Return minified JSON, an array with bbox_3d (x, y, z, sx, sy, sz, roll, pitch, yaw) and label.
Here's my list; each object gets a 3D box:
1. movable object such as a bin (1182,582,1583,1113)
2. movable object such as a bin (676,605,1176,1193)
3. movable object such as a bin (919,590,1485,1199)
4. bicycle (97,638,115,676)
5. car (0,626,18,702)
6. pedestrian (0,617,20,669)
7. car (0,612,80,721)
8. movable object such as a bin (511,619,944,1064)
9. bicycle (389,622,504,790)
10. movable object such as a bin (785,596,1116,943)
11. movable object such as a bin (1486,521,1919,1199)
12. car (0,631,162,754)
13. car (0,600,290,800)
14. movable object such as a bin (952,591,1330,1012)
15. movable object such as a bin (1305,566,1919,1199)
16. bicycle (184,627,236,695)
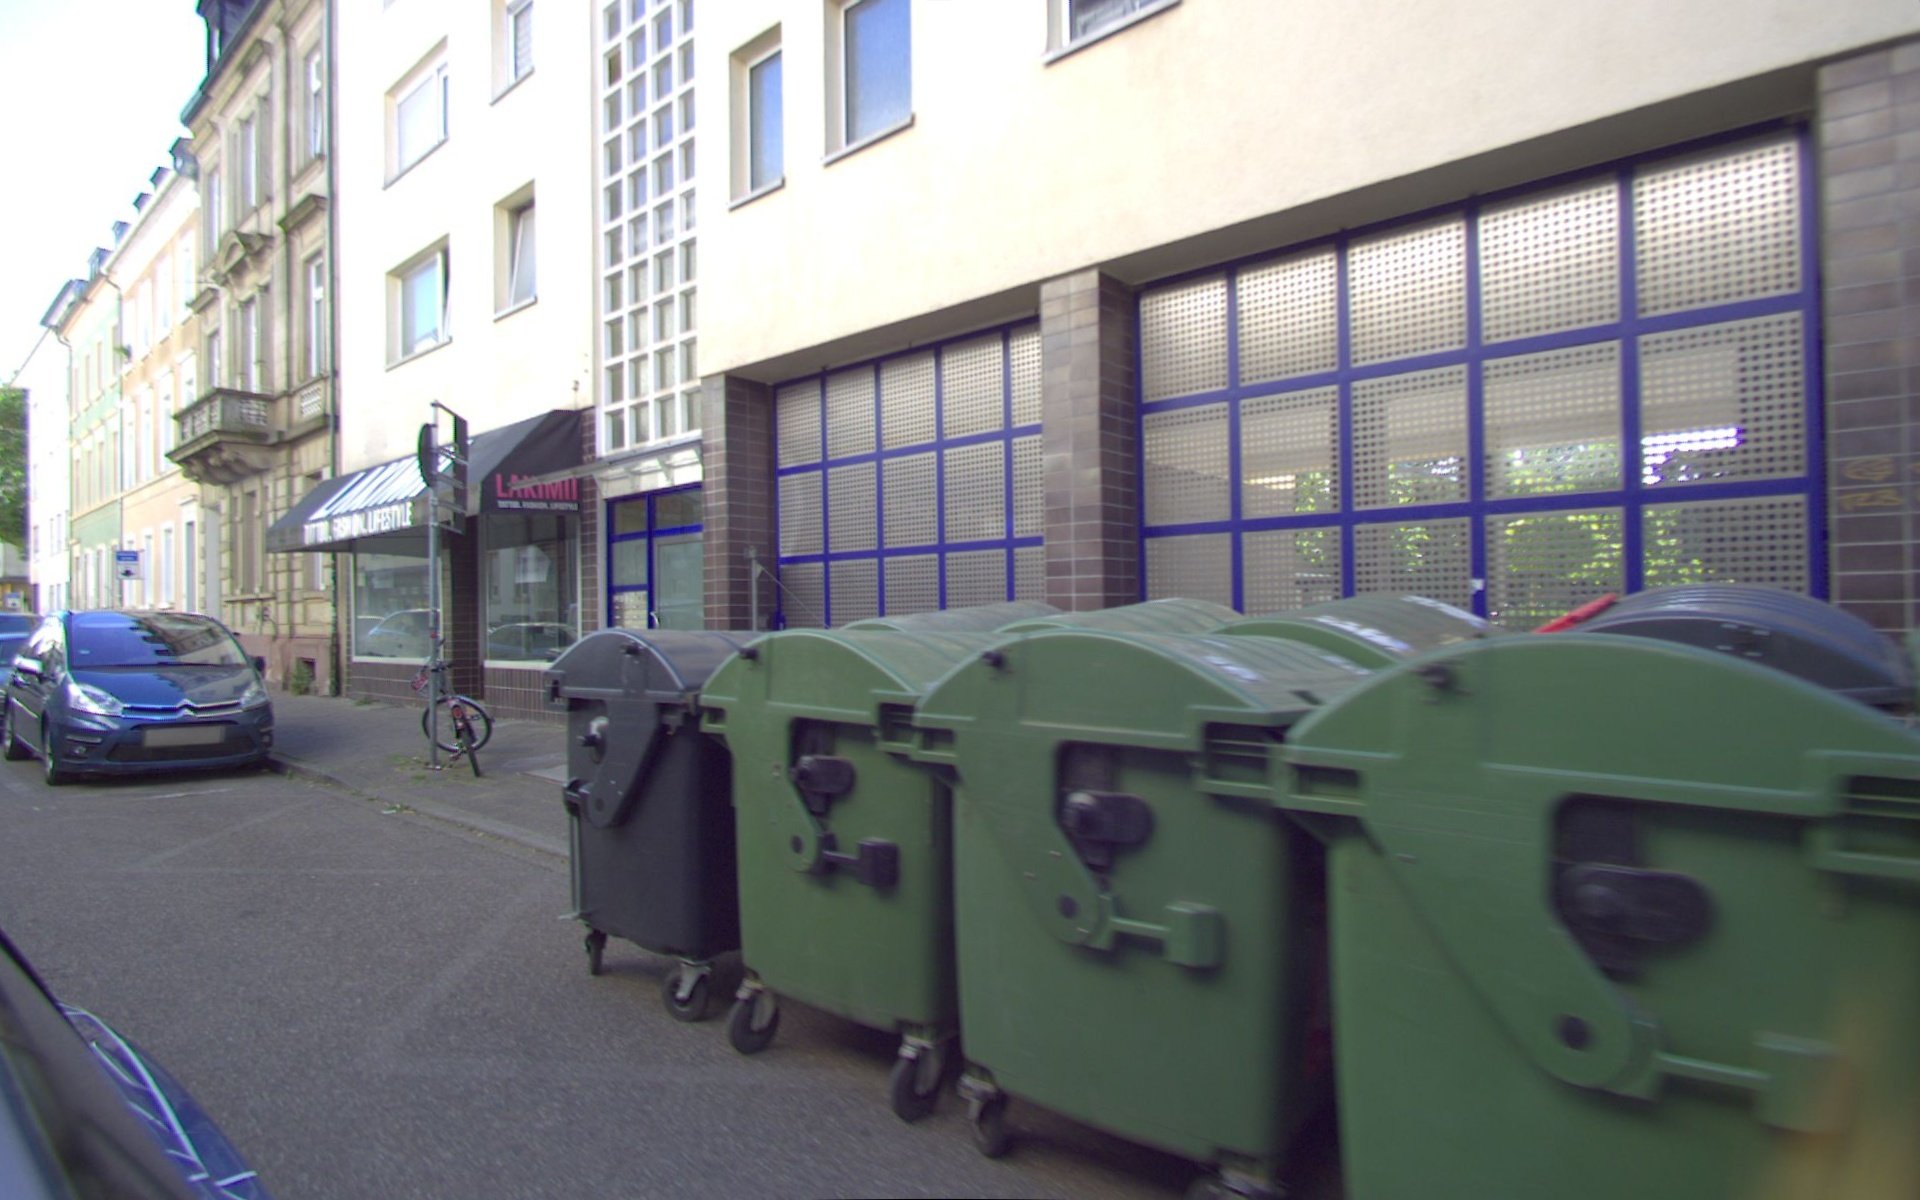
[{"bbox_3d":[1.597,0.719,3.758,1.017,1.534,1.288,-1,-1,41],"label":"movable object such as a bin"},{"bbox_3d":[-0.075,0.788,3.461,1.093,1.495,1.320,-1,-3,41],"label":"movable object such as a bin"},{"bbox_3d":[0.710,0.735,2.773,1.003,1.498,1.334,-1,-1,41],"label":"movable object such as a bin"},{"bbox_3d":[-24.908,1.651,29.520,0.356,1.036,1.921,1,-1,-39],"label":"bicycle"},{"bbox_3d":[-21.506,1.328,21.630,4.367,1.543,1.695,-2,-3,43],"label":"car"},{"bbox_3d":[-34.140,1.516,35.977,1.245,1.846,0.901,-1,-1,41],"label":"pedestrian"},{"bbox_3d":[-17.362,1.117,17.994,5.140,1.749,1.915,-2,-3,42],"label":"car"},{"bbox_3d":[-0.949,0.825,4.243,1.186,1.461,1.305,-1,-3,41],"label":"movable object such as a bin"},{"bbox_3d":[-4.807,0.916,9.415,0.460,1.341,1.857,-4,4,-40],"label":"bicycle"},{"bbox_3d":[-0.034,0.743,5.287,1.178,1.509,1.283,-1,-1,41],"label":"movable object such as a bin"},{"bbox_3d":[2.328,0.638,3.073,1.017,1.633,1.281,-1,-1,41],"label":"movable object such as a bin"},{"bbox_3d":[-12.936,1.183,14.246,4.816,1.428,1.826,-1,-3,42],"label":"car"},{"bbox_3d":[-8.865,0.916,10.737,4.668,1.679,1.763,-2,-3,42],"label":"car"},{"bbox_3d":[0.826,0.729,4.511,1.156,1.510,1.292,-1,-1,41],"label":"movable object such as a bin"},{"bbox_3d":[1.471,0.712,2.071,1.017,1.510,1.329,-1,-1,41],"label":"movable object such as a bin"},{"bbox_3d":[-15.176,1.206,20.469,1.867,1.286,0.505,-1,-1,43],"label":"bicycle"}]
